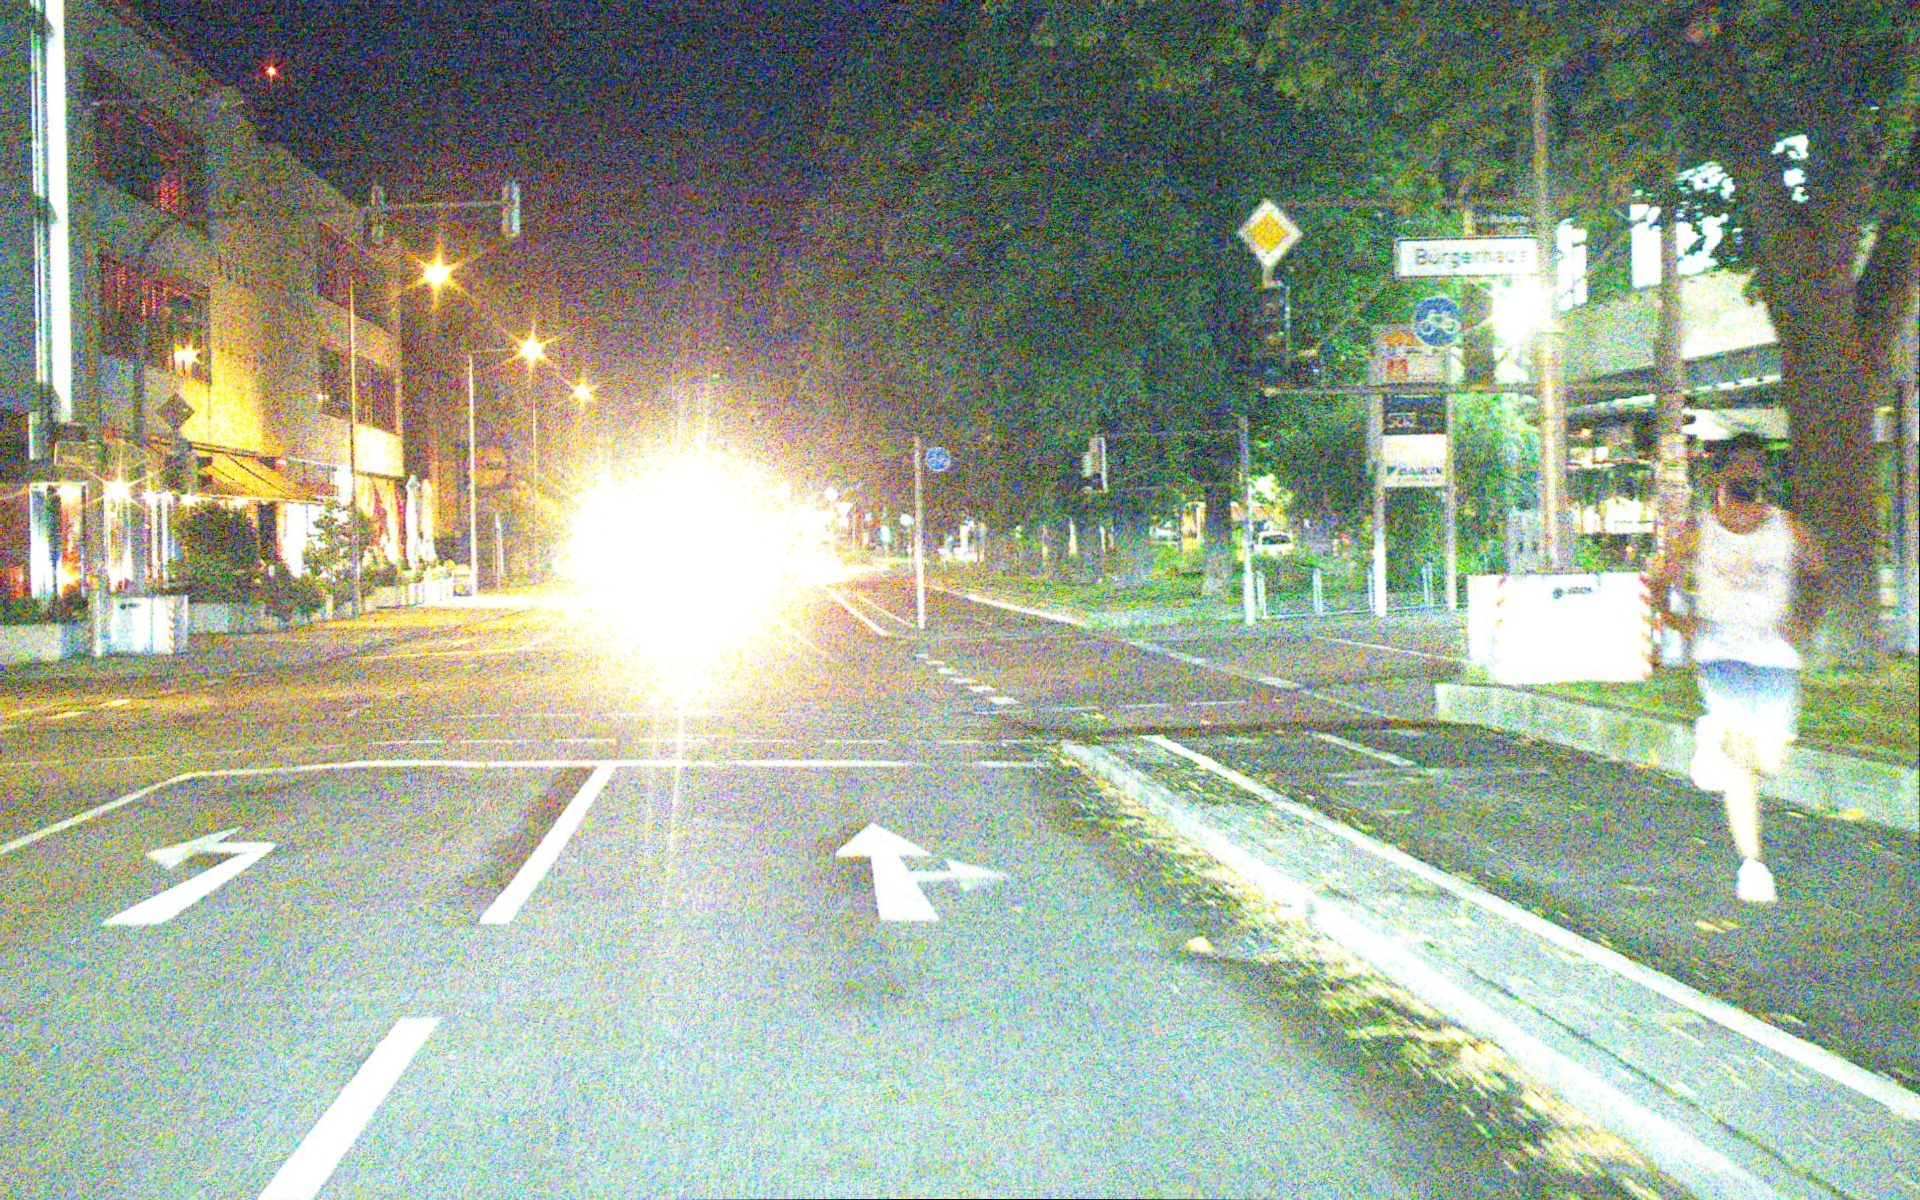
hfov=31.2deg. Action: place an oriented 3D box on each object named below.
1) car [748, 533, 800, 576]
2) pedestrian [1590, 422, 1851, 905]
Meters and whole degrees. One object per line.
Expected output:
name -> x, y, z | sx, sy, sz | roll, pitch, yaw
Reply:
car -> -7.516, -1.839, 139.027 | 1.993, 1.637, 4.001 | -2, 1, -3
pedestrian -> 2.983, 0.231, 13.574 | 0.703, 1.812, 1.082 | -2, 1, -2
